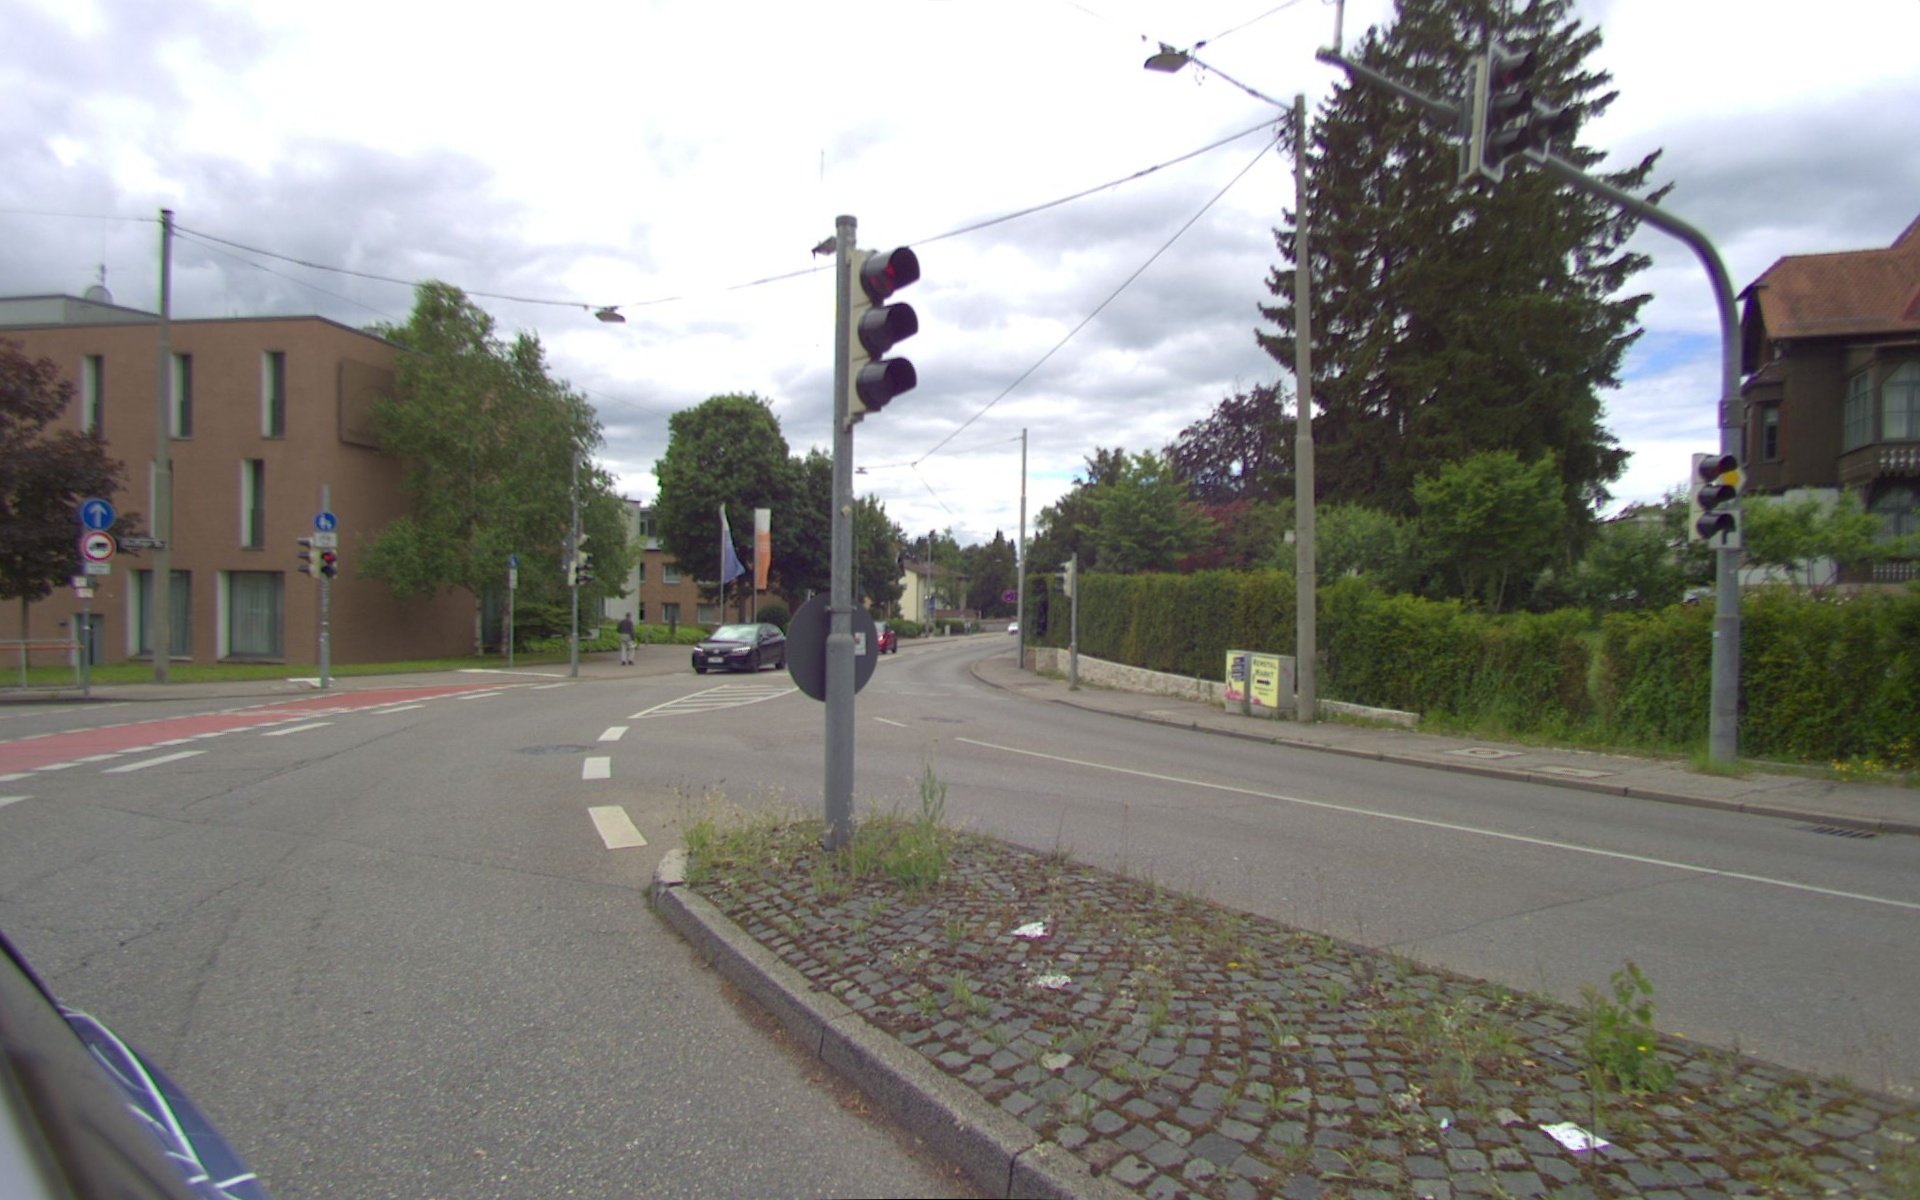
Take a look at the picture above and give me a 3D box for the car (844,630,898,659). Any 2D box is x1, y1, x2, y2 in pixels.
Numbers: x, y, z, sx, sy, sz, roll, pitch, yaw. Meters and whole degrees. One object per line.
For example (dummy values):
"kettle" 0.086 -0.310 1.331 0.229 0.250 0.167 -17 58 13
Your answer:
"car" -4.225 2.104 48.466 1.974 1.209 3.995 0 0 4

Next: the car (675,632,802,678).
"car" -6.540 1.604 30.274 1.984 1.253 3.976 -1 -1 18
